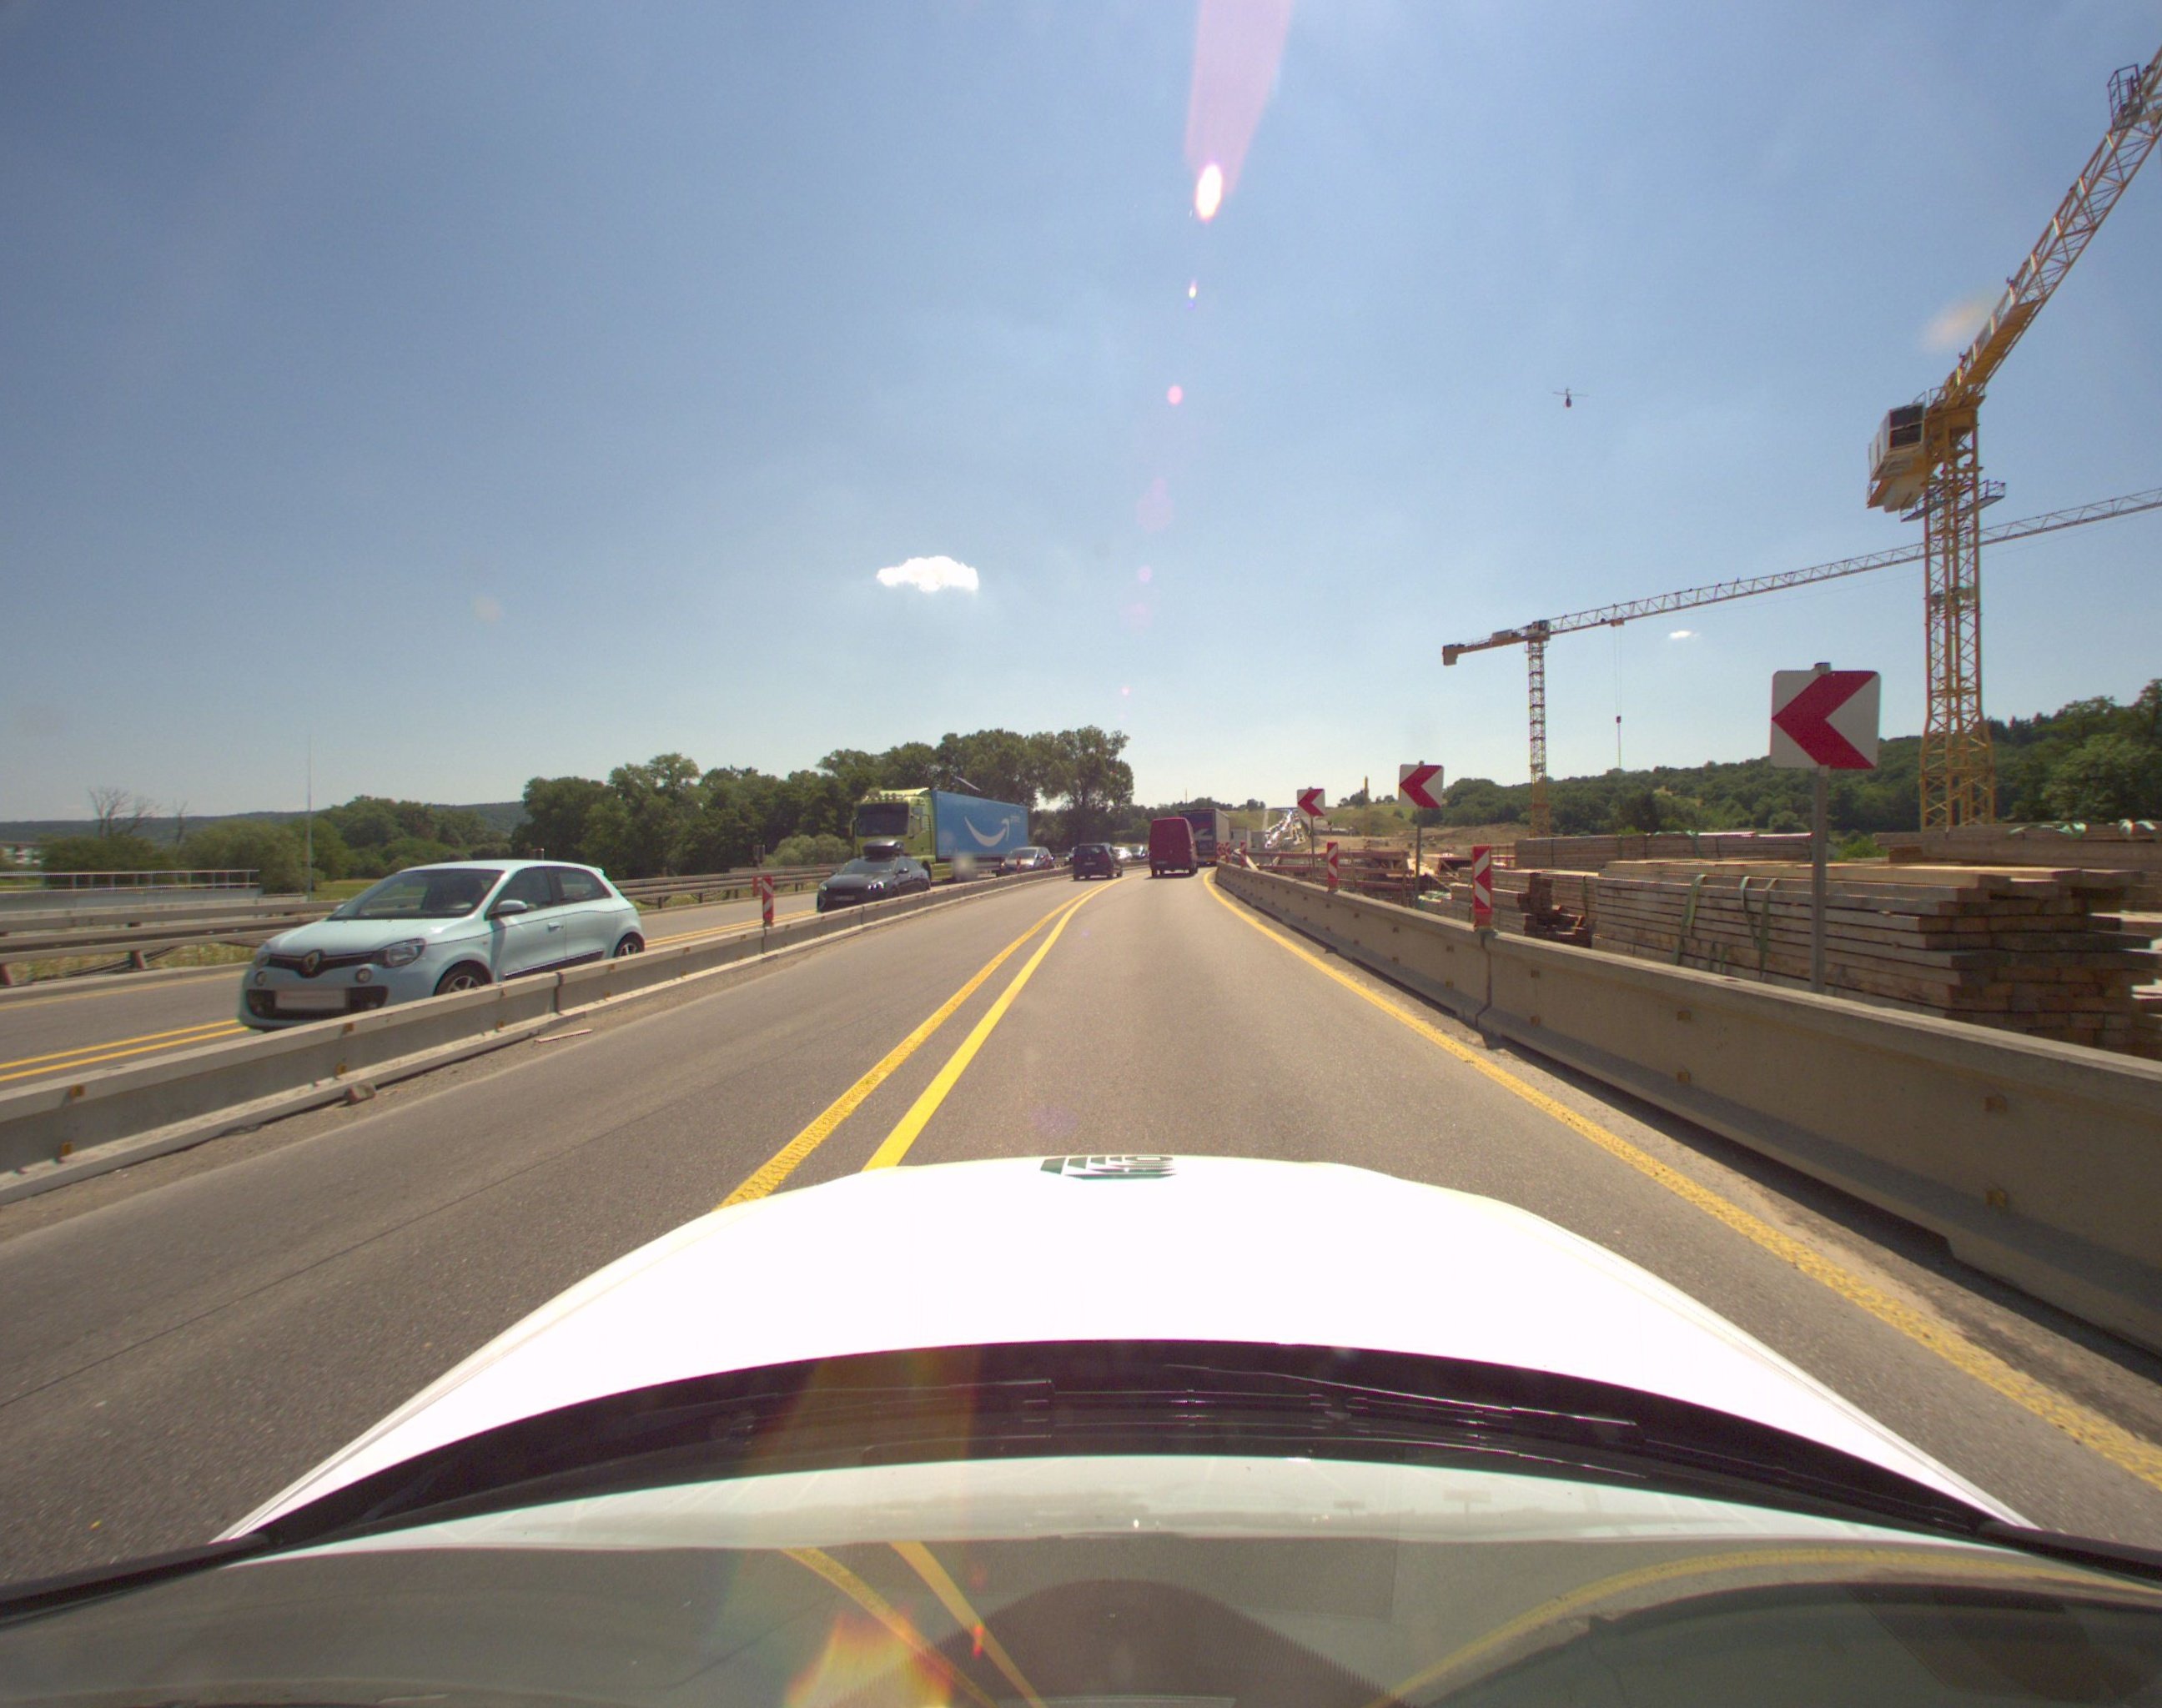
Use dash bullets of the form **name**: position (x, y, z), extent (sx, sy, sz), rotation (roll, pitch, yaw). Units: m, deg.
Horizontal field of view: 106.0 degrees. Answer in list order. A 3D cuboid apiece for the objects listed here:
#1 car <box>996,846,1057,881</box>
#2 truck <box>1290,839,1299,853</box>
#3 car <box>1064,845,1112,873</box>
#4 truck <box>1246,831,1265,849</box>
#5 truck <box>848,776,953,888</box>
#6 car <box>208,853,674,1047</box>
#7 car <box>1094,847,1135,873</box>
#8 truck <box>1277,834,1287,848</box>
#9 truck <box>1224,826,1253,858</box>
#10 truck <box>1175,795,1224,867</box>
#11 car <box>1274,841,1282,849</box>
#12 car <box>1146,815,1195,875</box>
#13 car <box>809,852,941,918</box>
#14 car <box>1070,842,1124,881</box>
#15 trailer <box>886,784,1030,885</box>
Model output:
- **car**: position (-2.525, 0.438, 38.951), extent (1.808, 1.585, 4.314), rotation (0, -1, 11)
- **truck**: position (62.274, -2.268, 237.698), extent (2.275, 3.739, 6.505), rotation (-2, -4, 14)
- **car**: position (0.522, 0.289, 52.579), extent (1.867, 1.647, 4.735), rotation (-1, 1, 16)
- **truck**: position (34.351, -2.706, 160.107), extent (3.161, 2.978, 8.930), rotation (-2, -4, 14)
- **truck**: position (-7.345, -0.823, 33.780), extent (2.609, 4.270, 4.745), rotation (0, -1, 10)
- **car**: position (-6.230, 0.781, 8.650), extent (1.630, 1.485, 4.002), rotation (-1, 1, 2)
- **car**: position (2.498, 0.406, 59.690), extent (1.806, 1.647, 4.592), rotation (-1, 2, 18)
- **truck**: position (47.736, -2.962, 193.483), extent (2.275, 3.196, 6.506), rotation (-2, 0, 13)
- **truck**: position (20.659, -1.520, 106.708), extent (3.159, 3.989, 6.767), rotation (-2, 0, 14)
- **truck**: position (8.883, -1.592, 60.401), extent (2.924, 4.945, 6.765), rotation (-2, 0, 13)
- **car**: position (42.038, -1.927, 173.855), extent (1.606, 1.699, 3.904), rotation (-1, 0, 14)
- **car**: position (4.289, -0.331, 38.709), extent (2.138, 2.611, 5.448), rotation (-1, -1, 7)
- **car**: position (-5.133, 0.711, 21.005), extent (1.811, 1.435, 4.590), rotation (-1, 1, 5)
- **car**: position (0.810, 0.291, 37.782), extent (1.722, 1.635, 4.404), rotation (-1, 1, 11)
- **trailer**: position (-5.705, -0.801, 41.379), extent (2.629, 4.293, 13.353), rotation (0, 0, 12)
